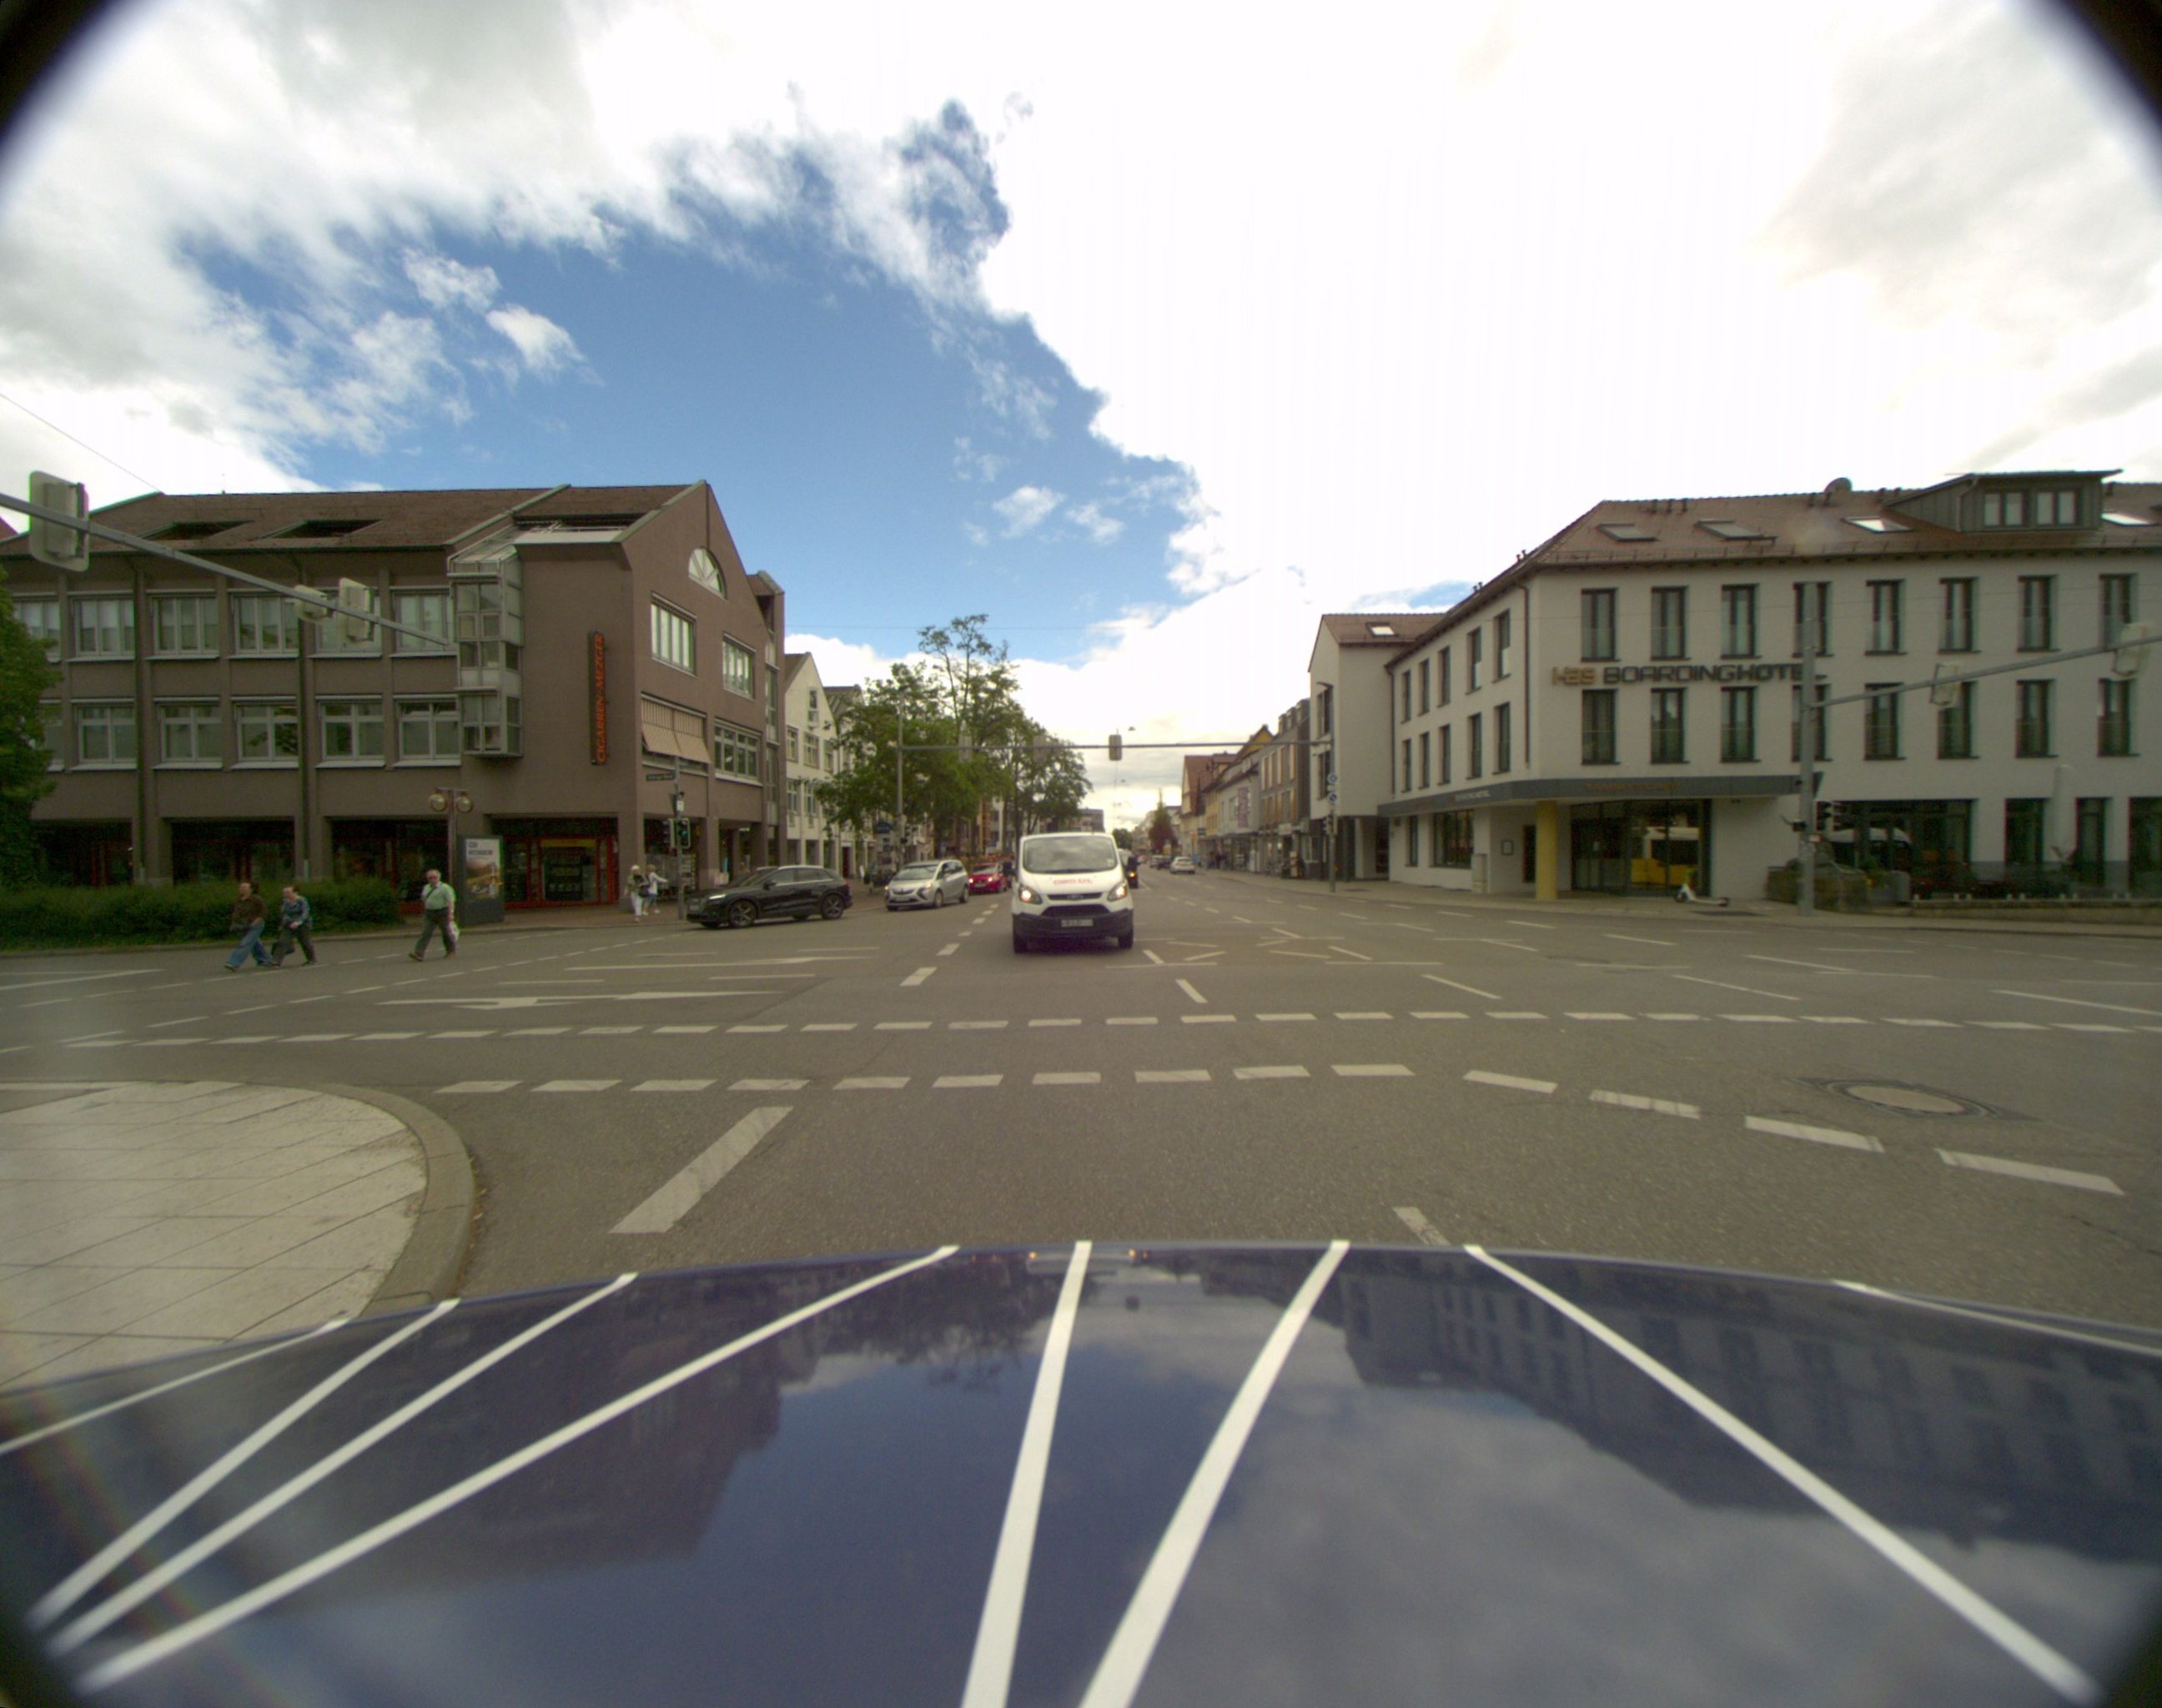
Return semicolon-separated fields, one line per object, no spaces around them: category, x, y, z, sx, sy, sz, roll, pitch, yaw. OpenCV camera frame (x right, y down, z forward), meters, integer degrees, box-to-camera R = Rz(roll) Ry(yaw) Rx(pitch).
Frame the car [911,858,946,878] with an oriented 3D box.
car;-12.824;1.146;64.208;1.999;1.539;4.752;0;1;-1

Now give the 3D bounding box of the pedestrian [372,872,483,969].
pedestrian;-12.272;1.229;14.320;1.058;1.705;1.110;-1;1;2

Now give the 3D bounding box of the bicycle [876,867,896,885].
bicycle;-11.770;1.305;45.857;1.565;1.042;0.407;0;1;45

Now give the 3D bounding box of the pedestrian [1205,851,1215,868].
pedestrian;12.129;0.527;71.589;0.812;1.574;0.921;-1;1;3

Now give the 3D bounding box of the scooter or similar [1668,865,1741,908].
scooter or similar;18.369;0.942;22.431;0.427;1.152;1.569;-2;3;-39

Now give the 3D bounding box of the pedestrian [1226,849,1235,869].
pedestrian;13.349;0.431;67.761;0.708;1.771;0.870;-1;1;4

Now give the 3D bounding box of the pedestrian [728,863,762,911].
pedestrian;-11.812;1.147;26.750;0.743;1.617;0.953;-1;0;-1

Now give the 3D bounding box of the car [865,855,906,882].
car;-13.483;0.971;52.616;1.738;1.793;4.261;0;0;0

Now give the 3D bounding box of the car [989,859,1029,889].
car;-4.117;1.132;43.895;1.801;1.521;4.000;-3;0;1

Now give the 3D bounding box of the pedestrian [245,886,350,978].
pedestrian;-14.182;1.385;13.785;0.832;1.549;0.969;-1;1;2

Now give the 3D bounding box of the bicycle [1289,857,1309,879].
bicycle;12.408;0.776;43.296;0.583;1.225;2.119;-1;0;1

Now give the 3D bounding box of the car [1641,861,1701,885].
car;31.576;0.998;40.733;1.396;1.173;3.174;1;0;15

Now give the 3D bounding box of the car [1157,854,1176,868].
car;9.213;0.733;82.014;1.748;1.450;3.818;0;0;3

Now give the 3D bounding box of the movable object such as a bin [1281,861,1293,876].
movable object such as a bin;12.429;0.874;45.907;0.552;0.894;0.507;-2;1;1

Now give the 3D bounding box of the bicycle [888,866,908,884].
bicycle;-11.108;1.271;46.044;1.565;1.042;0.407;0;1;45

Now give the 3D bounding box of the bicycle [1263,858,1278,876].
bicycle;12.483;0.852;49.999;0.573;1.094;1.903;-2;0;3

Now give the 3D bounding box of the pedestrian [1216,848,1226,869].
pedestrian;12.490;0.361;67.669;0.708;1.828;1.028;-1;1;4

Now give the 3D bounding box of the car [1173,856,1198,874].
car;8.847;0.894;64.448;1.748;1.450;4.236;0;0;3

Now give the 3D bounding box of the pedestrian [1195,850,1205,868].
pedestrian;11.212;0.447;71.625;0.812;1.651;0.921;-1;1;3

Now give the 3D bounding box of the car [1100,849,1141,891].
car;1.849;0.728;37.001;1.712;1.810;4.571;-3;0;0

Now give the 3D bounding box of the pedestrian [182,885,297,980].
pedestrian;-15.100;1.383;13.670;0.832;1.575;1.058;-1;1;-1

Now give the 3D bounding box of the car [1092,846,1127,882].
car;1.794;0.587;47.492;1.998;2.002;4.840;-3;0;3

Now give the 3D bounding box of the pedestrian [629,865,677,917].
pedestrian;-13.583;1.155;24.134;0.823;1.586;1.039;-1;1;5

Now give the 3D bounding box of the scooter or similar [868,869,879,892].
scooter or similar;-10.430;1.312;38.260;0.471;1.081;1.885;-1;1;-14

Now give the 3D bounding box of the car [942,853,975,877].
car;-10.248;0.893;64.060;1.998;1.865;4.753;0;1;0

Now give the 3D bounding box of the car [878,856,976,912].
car;-5.339;0.994;26.980;1.742;1.691;4.384;-3;0;11

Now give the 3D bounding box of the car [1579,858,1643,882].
car;28.708;0.853;41.261;1.397;1.173;3.353;1;0;7

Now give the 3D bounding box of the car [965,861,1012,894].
car;-4.474;1.107;37.347;1.630;1.440;3.642;-3;0;3

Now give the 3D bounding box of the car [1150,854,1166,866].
car;9.769;0.729;96.689;1.873;1.477;4.001;-1;0;2

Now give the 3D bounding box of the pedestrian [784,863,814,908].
pedestrian;-10.280;1.136;27.726;0.743;1.617;0.953;-1;0;-1

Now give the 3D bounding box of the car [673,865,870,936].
car;-8.512;1.214;21.373;1.852;1.600;4.870;-3;0;33

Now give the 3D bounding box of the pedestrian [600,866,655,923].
pedestrian;-13.347;1.181;22.403;1.092;1.617;0.811;-1;1;2

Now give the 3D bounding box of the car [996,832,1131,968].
car;-0.131;0.693;14.379;1.939;1.968;5.780;-3;0;3
